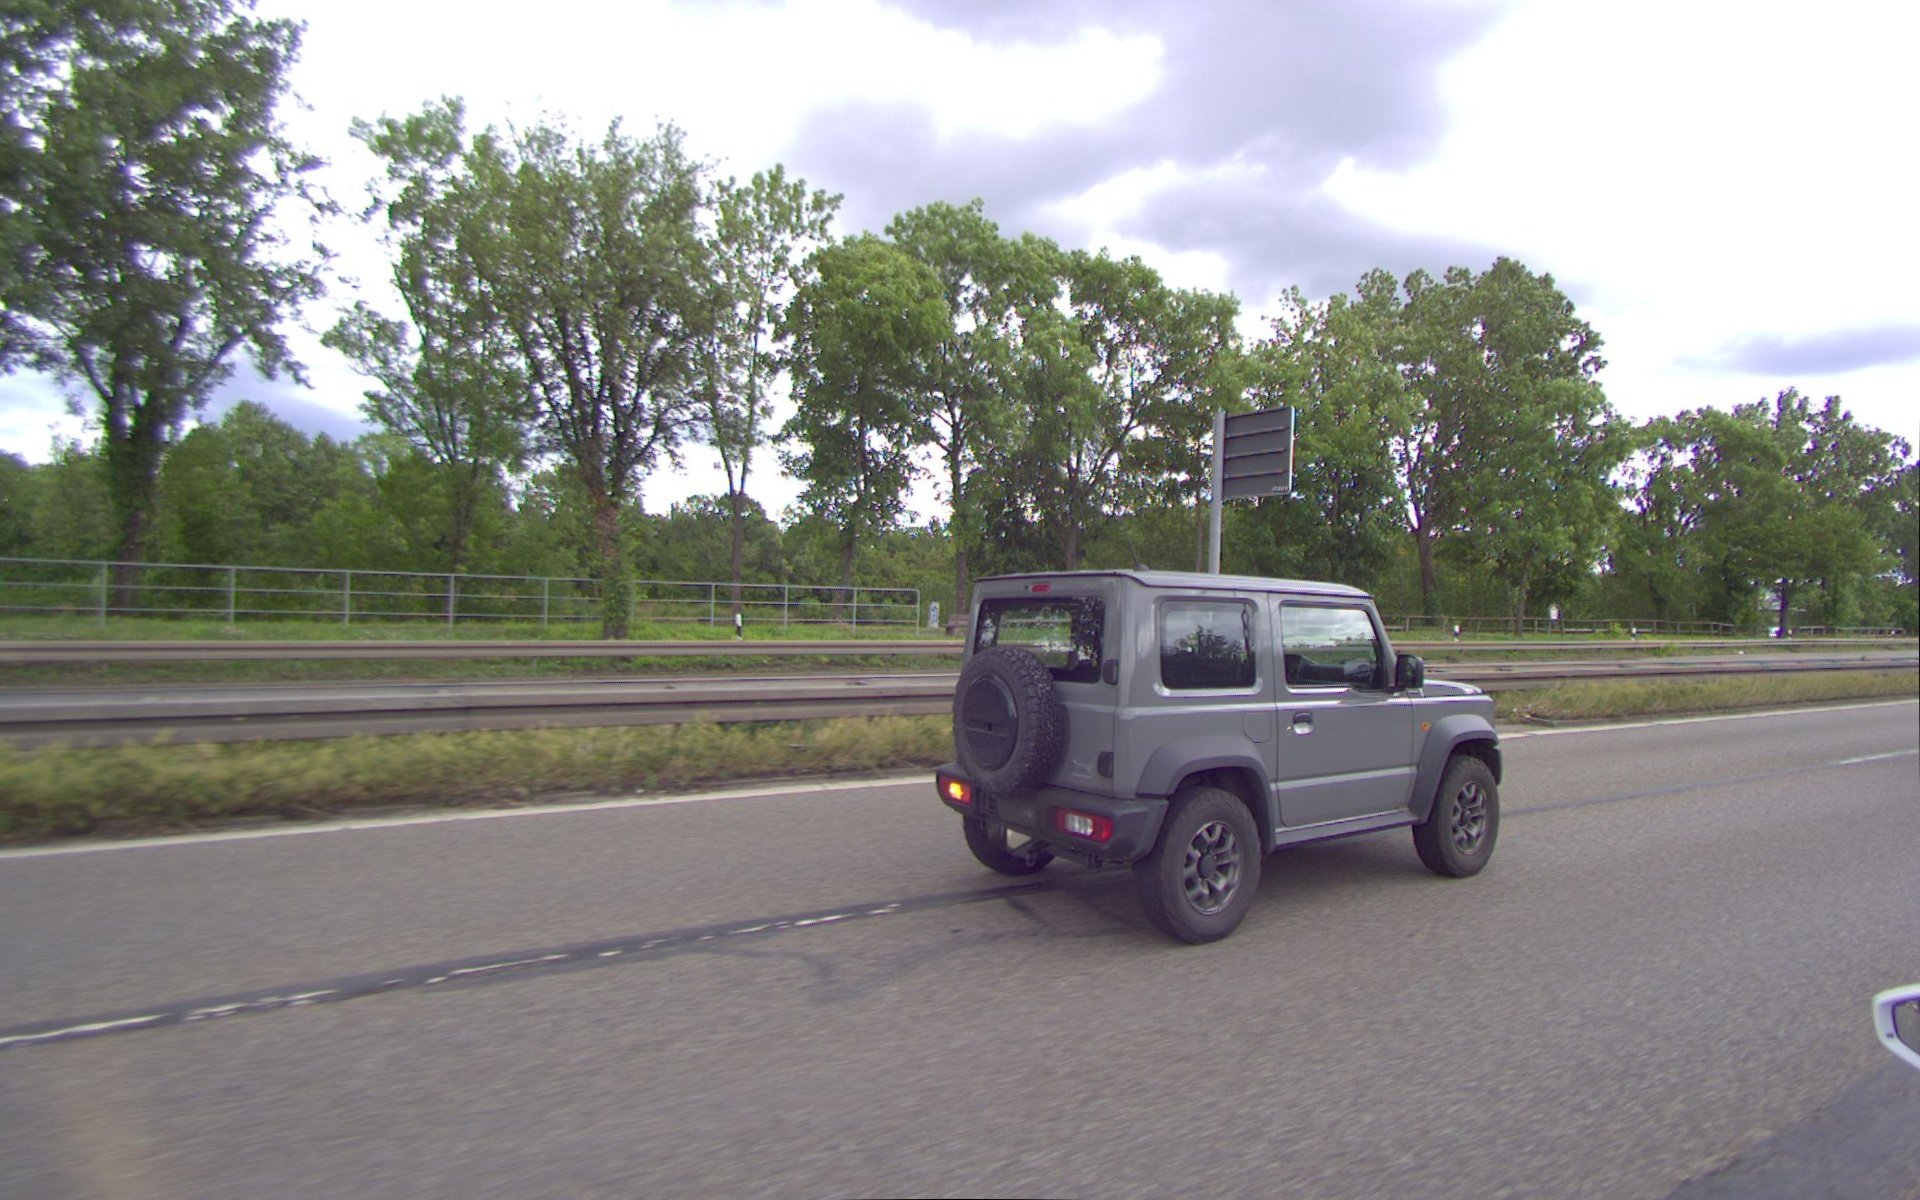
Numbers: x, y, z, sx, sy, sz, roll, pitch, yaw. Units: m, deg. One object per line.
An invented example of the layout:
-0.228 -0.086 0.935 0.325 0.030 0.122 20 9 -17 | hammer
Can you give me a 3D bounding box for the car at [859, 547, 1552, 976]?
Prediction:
1.562 0.689 5.819 3.958 1.708 1.687 1 -1 -34 | car
